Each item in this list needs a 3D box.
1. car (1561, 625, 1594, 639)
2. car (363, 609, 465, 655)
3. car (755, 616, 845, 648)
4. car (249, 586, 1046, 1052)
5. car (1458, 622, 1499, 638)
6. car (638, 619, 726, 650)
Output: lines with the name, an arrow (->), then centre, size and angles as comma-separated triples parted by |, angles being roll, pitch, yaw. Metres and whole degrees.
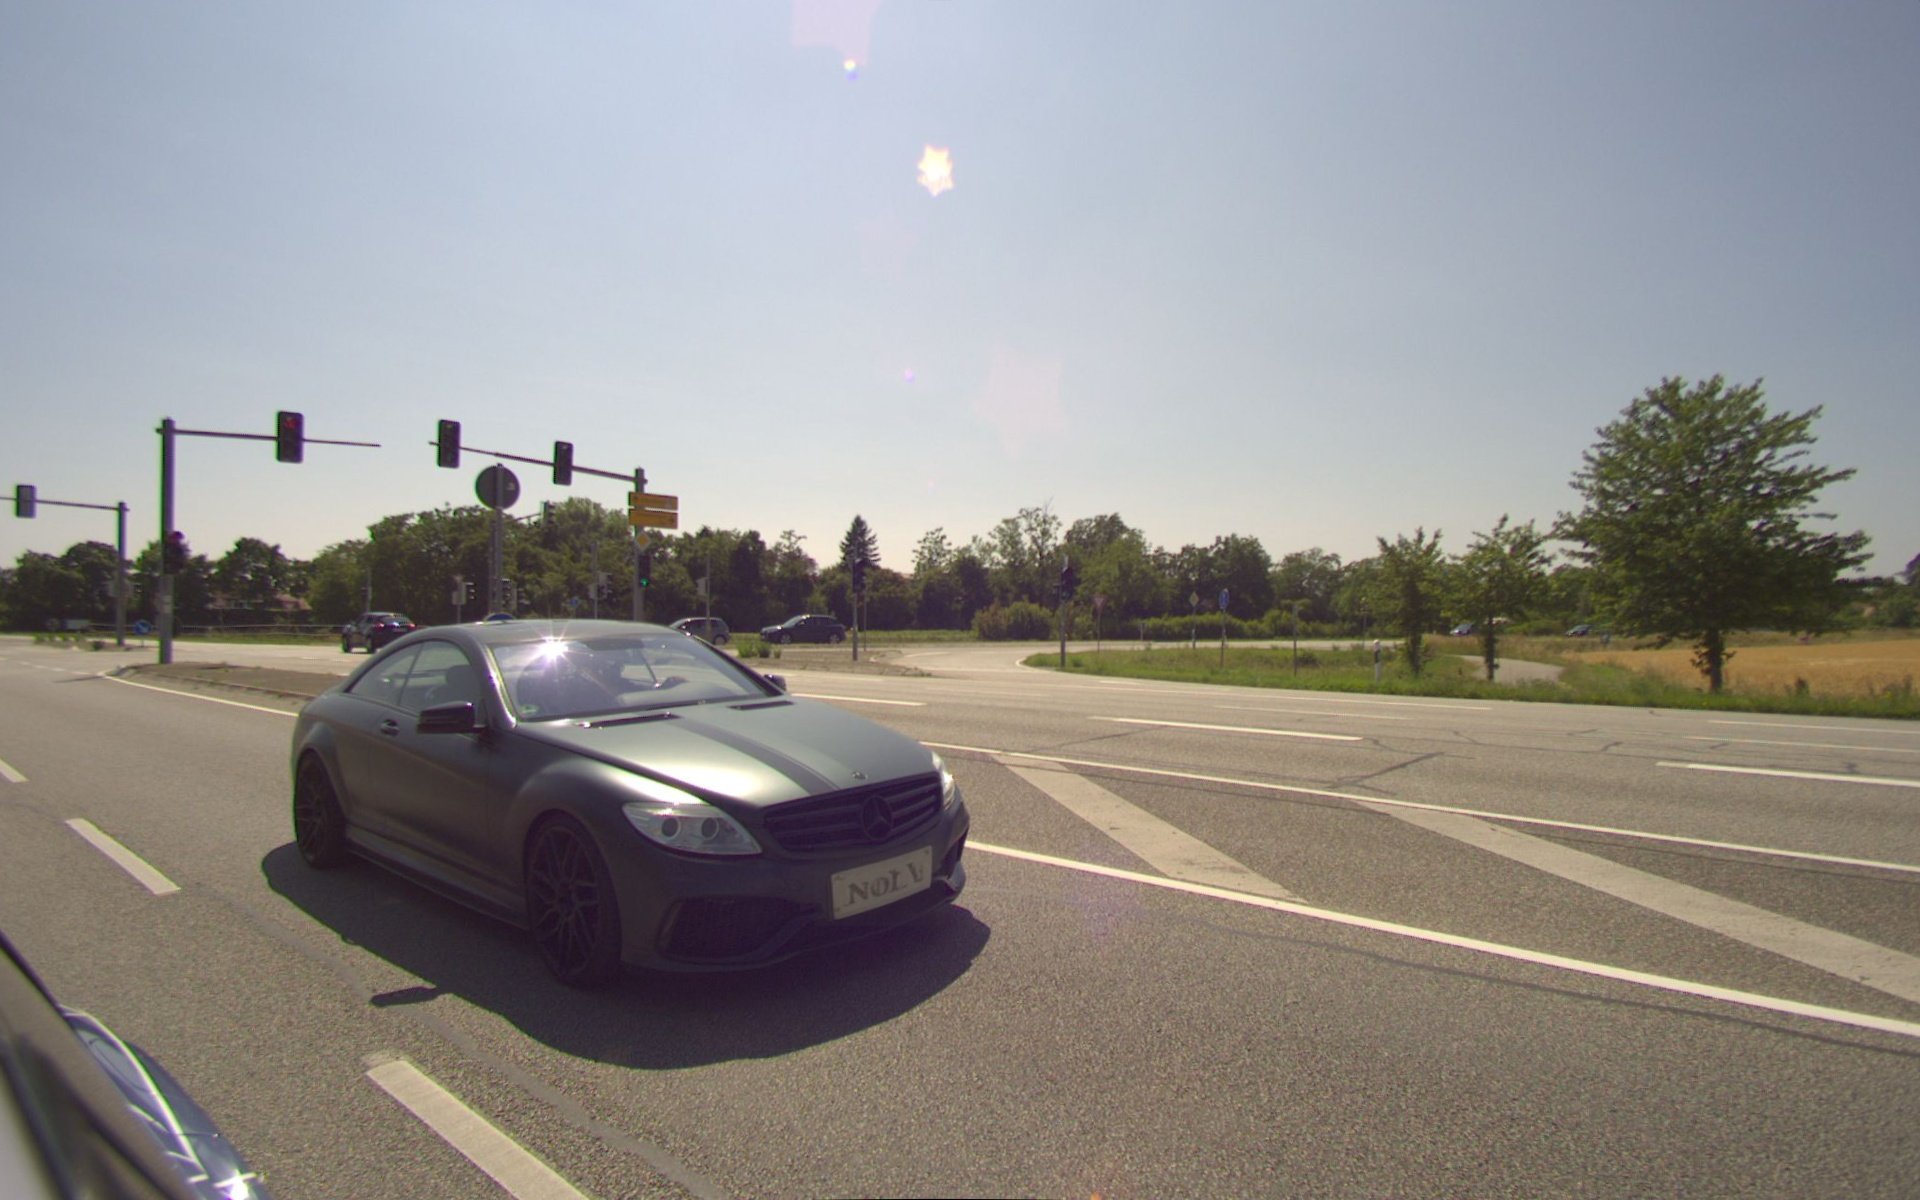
car -> 64.358, 3.347, 105.457 | 3.711, 1.397, 1.504 | 1, -2, -32
car -> -20.439, 1.168, 37.811 | 4.300, 1.612, 1.812 | 0, -1, 38
car -> -8.334, 1.654, 52.824 | 4.295, 1.606, 1.639 | 1, -2, -32
car -> -2.048, 0.720, 5.469 | 4.874, 1.461, 1.792 | -1, 0, 41
car -> 46.516, 2.659, 90.771 | 3.711, 1.397, 1.504 | 1, -2, -32
car -> -13.540, 1.677, 49.347 | 3.815, 1.397, 1.639 | 0, -2, -34
